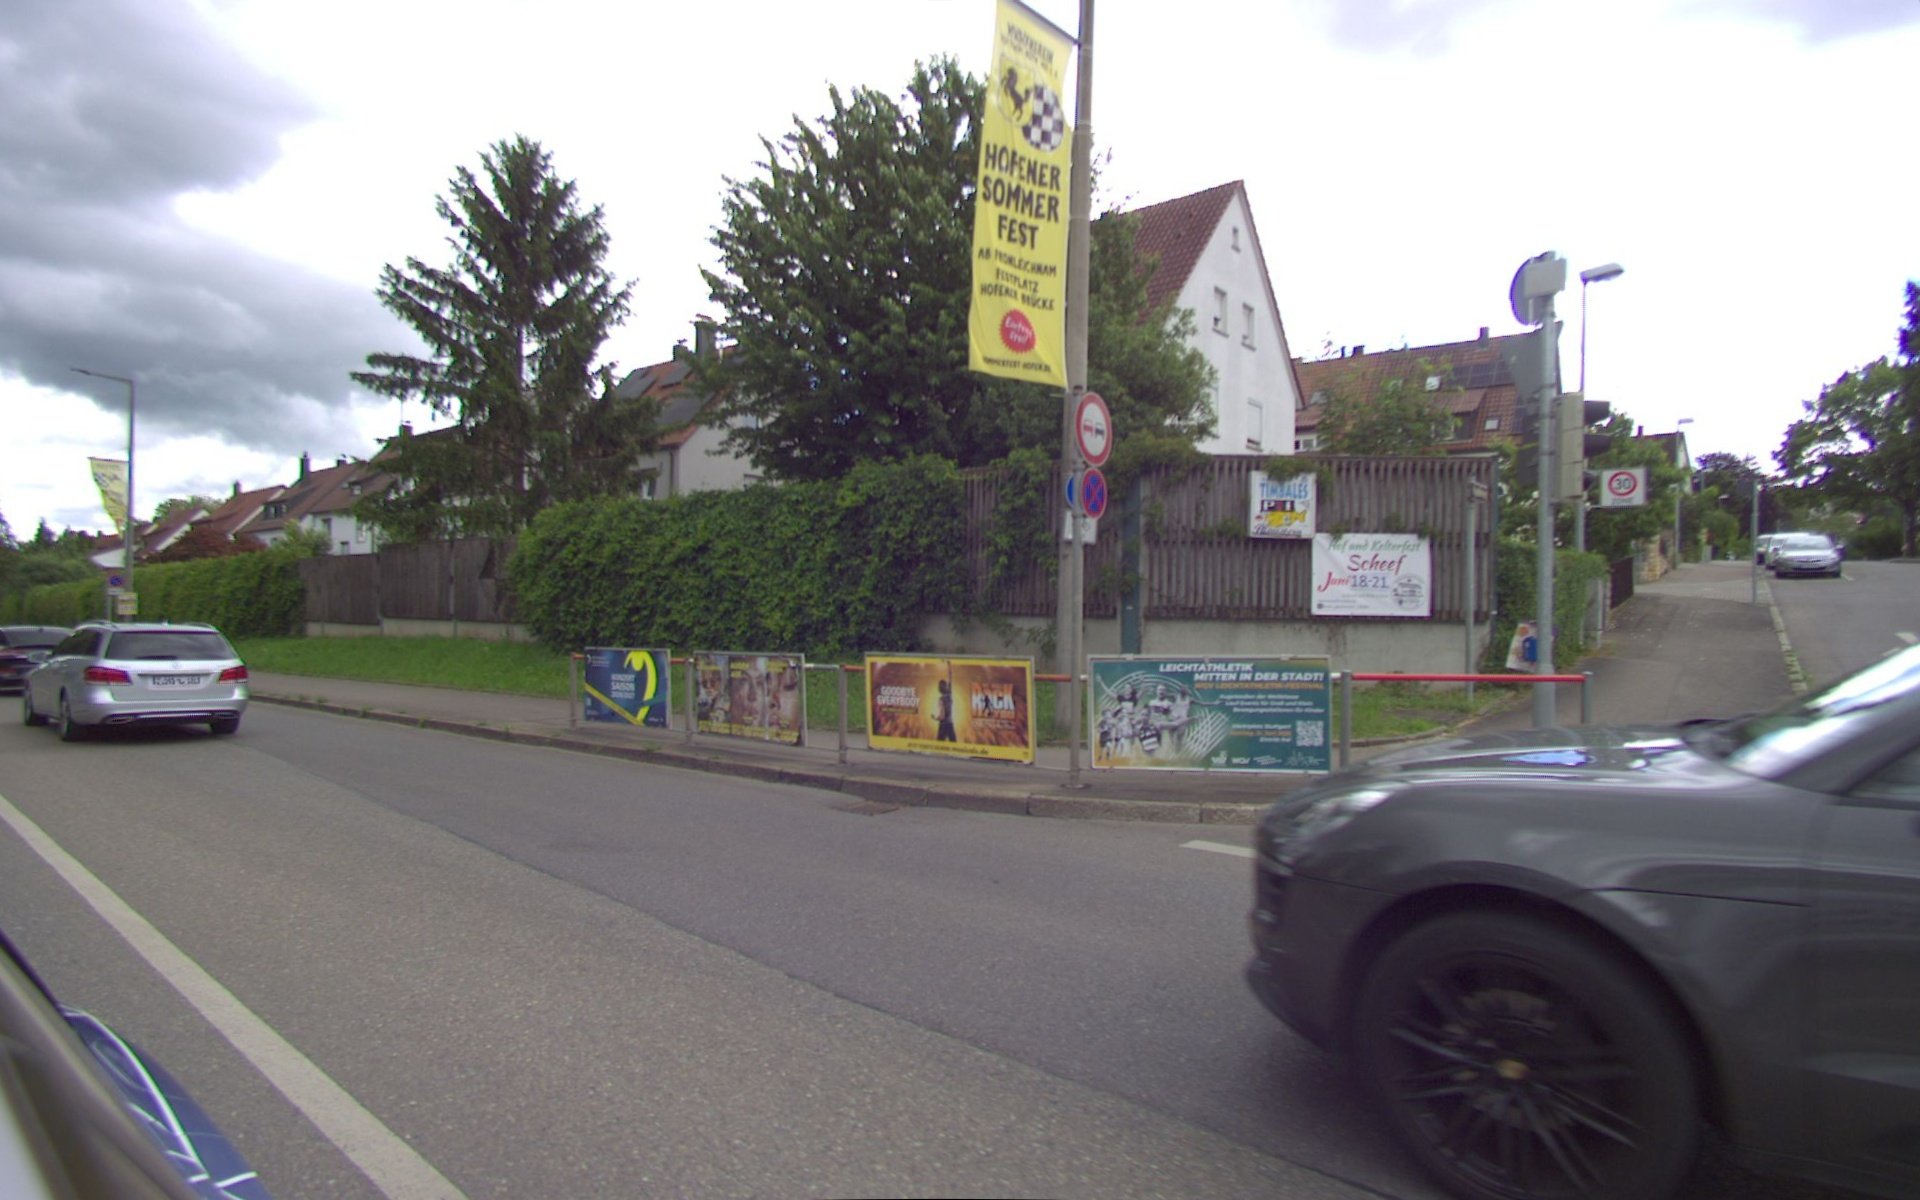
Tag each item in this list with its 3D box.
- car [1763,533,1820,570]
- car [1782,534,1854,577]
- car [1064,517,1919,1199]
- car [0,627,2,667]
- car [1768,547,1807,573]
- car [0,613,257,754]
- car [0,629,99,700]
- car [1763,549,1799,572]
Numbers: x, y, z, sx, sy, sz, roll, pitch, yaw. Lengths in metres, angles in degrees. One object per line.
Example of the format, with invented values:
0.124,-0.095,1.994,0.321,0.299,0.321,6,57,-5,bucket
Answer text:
34.991,-2.022,42.631,1.617,1.451,3.477,-1,1,36,car
29.999,-1.533,35.458,1.617,1.364,3.477,-1,1,36,car
2.645,0.620,2.436,4.477,1.586,1.883,0,1,39,car
-39.476,1.829,39.937,4.695,1.536,1.794,-1,-3,39,car
50.779,-2.453,62.125,1.617,1.451,3.477,-1,1,36,car
-11.627,1.015,13.941,5.199,1.579,1.801,-1,0,39,car
-20.290,1.337,22.015,4.158,1.383,1.793,-1,-2,41,car
53.850,-2.584,66.396,1.617,1.451,3.477,-1,1,36,car
